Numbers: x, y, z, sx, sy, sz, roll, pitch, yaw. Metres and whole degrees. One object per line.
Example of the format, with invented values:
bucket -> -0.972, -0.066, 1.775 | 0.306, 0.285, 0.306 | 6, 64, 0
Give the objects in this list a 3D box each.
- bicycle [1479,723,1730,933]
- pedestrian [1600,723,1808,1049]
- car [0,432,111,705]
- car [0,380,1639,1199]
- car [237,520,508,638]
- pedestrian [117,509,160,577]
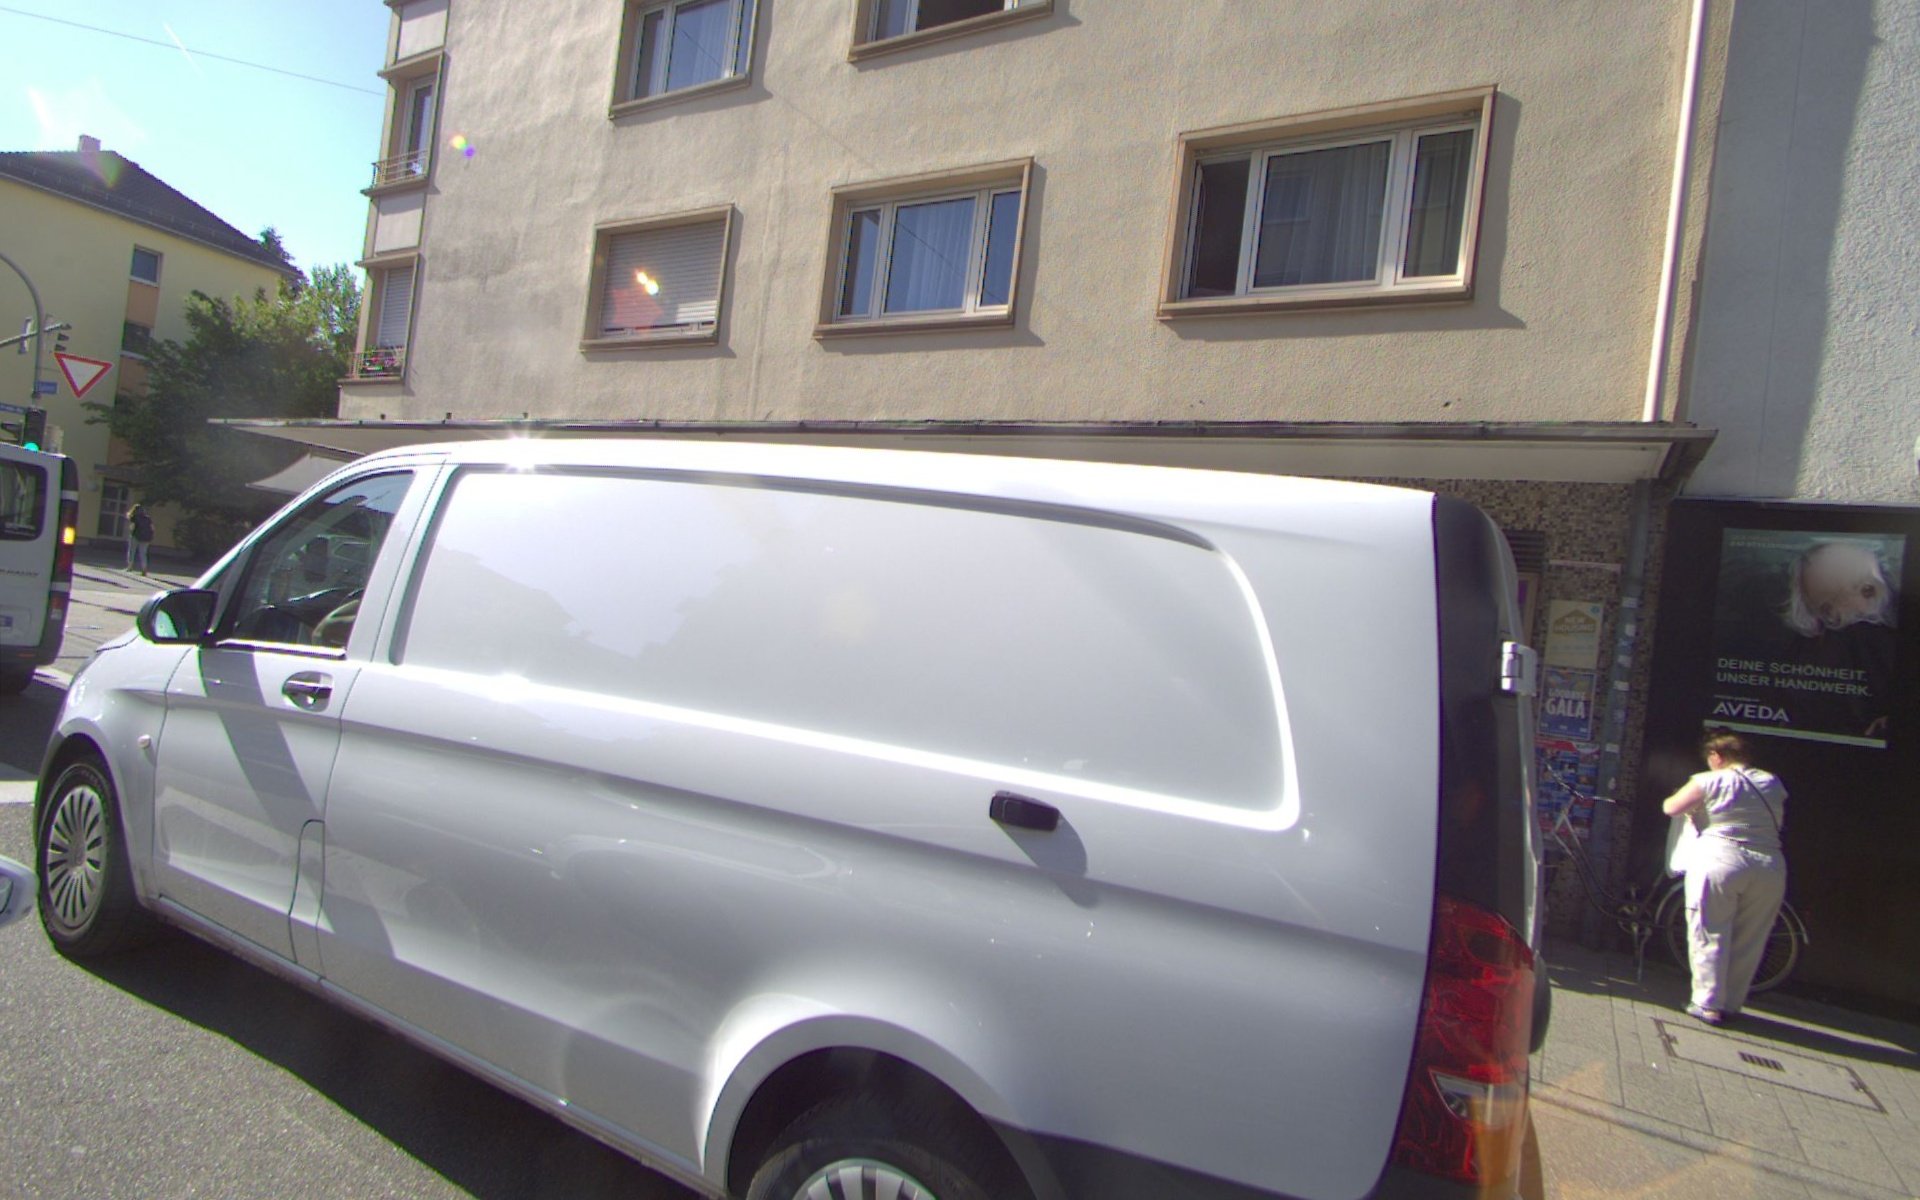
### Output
bicycle -> 3.864, 1.337, 6.116 | 1.155, 0.994, 0.376 | 7, 0, 29
pedestrian -> 3.884, 1.435, 5.318 | 0.614, 1.459, 0.775 | 7, -1, 27
car -> -9.310, -0.500, 8.245 | 4.972, 1.962, 1.973 | 6, -3, 32
car -> -0.841, 0.513, 3.265 | 4.751, 1.832, 1.972 | 6, -1, 31
car -> -11.109, -0.334, 19.303 | 1.795, 1.682, 3.993 | 7, -1, 32
pedestrian -> -20.239, -1.406, 24.786 | 0.530, 1.590, 0.540 | 7, 0, 32
